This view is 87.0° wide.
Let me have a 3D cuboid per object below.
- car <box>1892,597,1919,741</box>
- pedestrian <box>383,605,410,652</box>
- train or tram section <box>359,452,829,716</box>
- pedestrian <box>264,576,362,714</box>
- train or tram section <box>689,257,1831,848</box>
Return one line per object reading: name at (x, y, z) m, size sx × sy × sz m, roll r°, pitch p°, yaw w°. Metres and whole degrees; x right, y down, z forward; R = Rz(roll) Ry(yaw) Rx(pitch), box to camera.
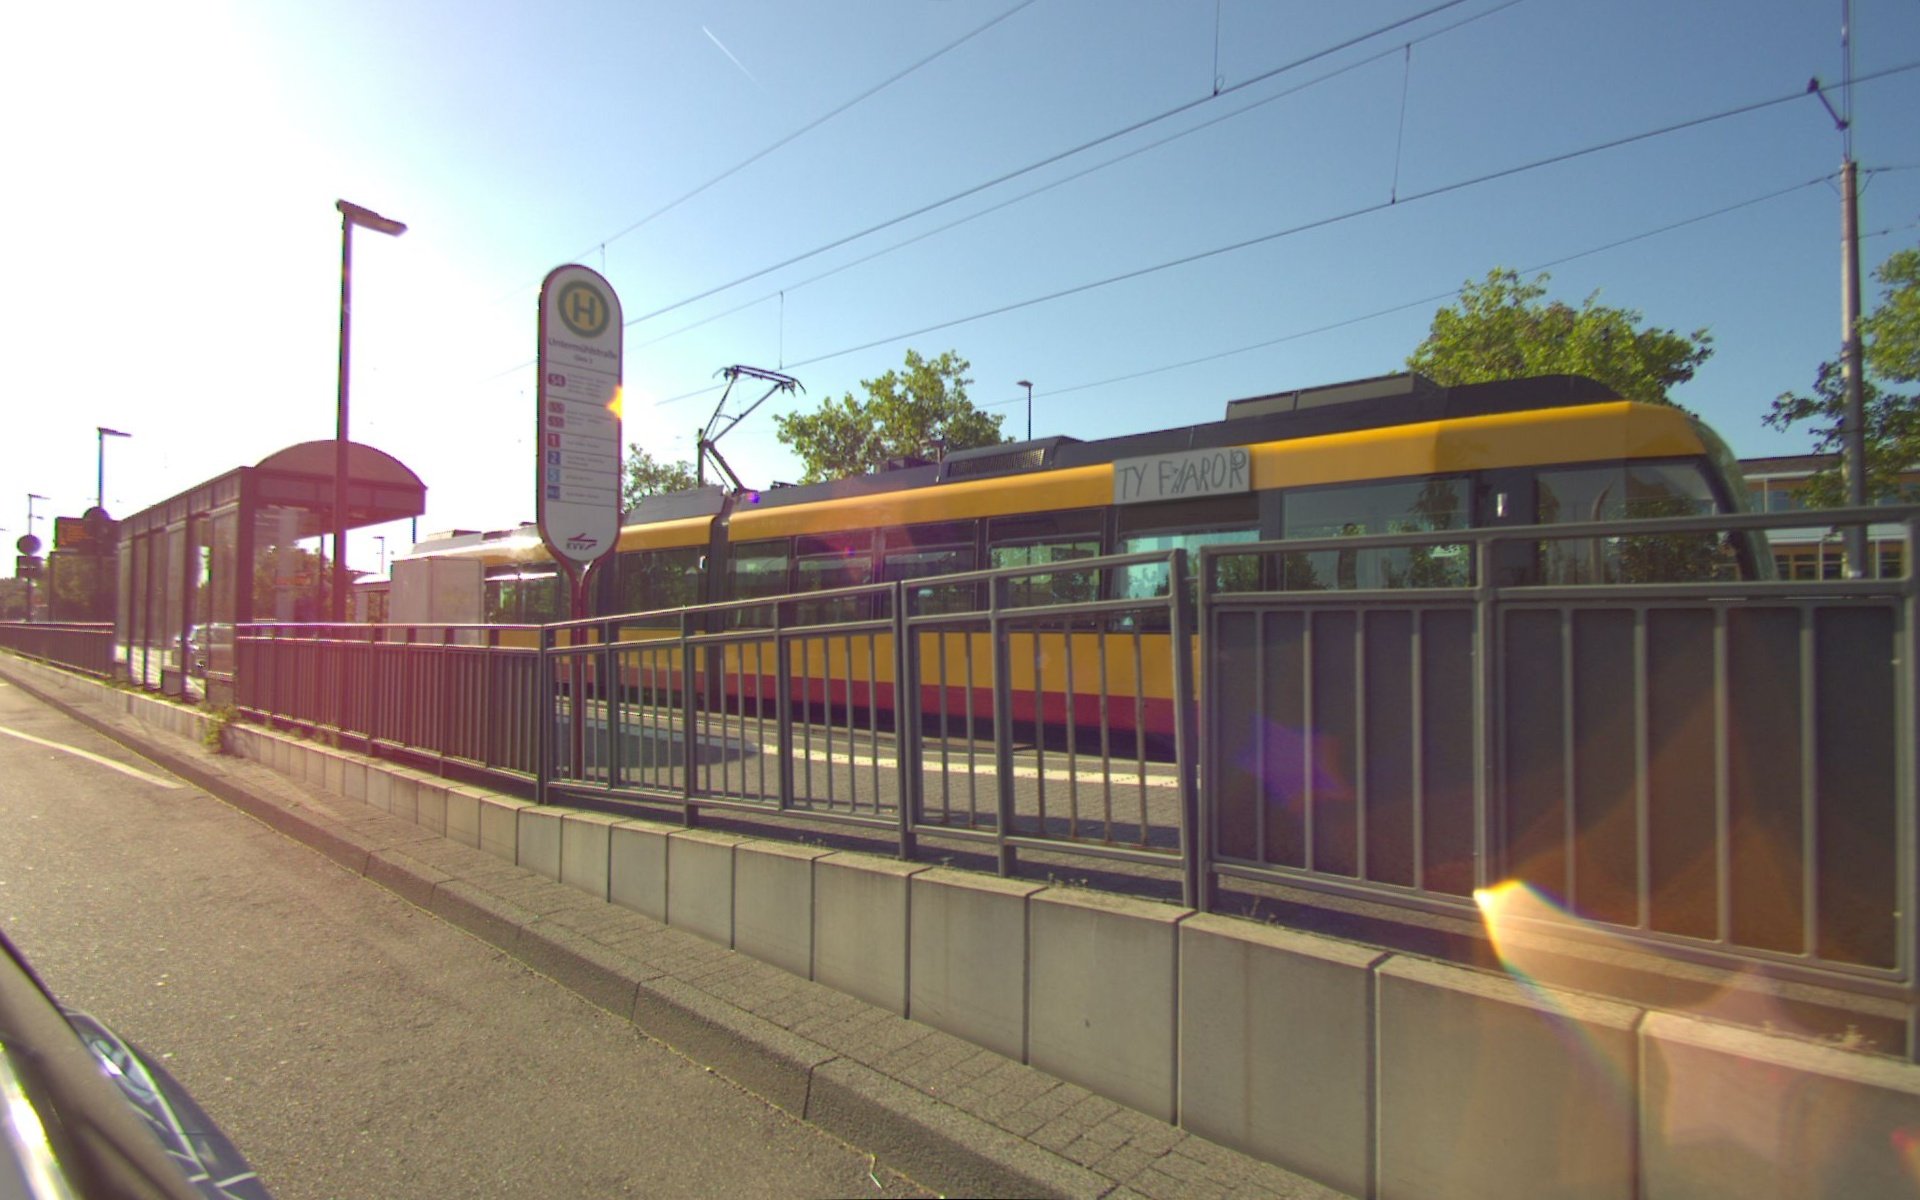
car at (12.580, 0.733, 10.425) m, size 4.335 × 1.573 × 1.972 m, roll -1°, pitch -2°, yaw 43°
pedestrian at (-21.329, 1.074, 38.324) m, size 0.698 × 1.770 × 0.582 m, roll -1°, pitch -2°, yaw 29°
train or tram section at (-8.971, -0.118, 21.952) m, size 15.877 × 4.036 × 2.796 m, roll -1°, pitch -1°, yaw 44°
pedestrian at (-7.312, 0.499, 11.471) m, size 0.749 × 1.504 × 0.696 m, roll 0°, pitch -1°, yaw -14°
train or tram section at (1.549, -0.196, 11.851) m, size 12.970 × 3.715 × 2.796 m, roll -1°, pitch -1°, yaw 44°
